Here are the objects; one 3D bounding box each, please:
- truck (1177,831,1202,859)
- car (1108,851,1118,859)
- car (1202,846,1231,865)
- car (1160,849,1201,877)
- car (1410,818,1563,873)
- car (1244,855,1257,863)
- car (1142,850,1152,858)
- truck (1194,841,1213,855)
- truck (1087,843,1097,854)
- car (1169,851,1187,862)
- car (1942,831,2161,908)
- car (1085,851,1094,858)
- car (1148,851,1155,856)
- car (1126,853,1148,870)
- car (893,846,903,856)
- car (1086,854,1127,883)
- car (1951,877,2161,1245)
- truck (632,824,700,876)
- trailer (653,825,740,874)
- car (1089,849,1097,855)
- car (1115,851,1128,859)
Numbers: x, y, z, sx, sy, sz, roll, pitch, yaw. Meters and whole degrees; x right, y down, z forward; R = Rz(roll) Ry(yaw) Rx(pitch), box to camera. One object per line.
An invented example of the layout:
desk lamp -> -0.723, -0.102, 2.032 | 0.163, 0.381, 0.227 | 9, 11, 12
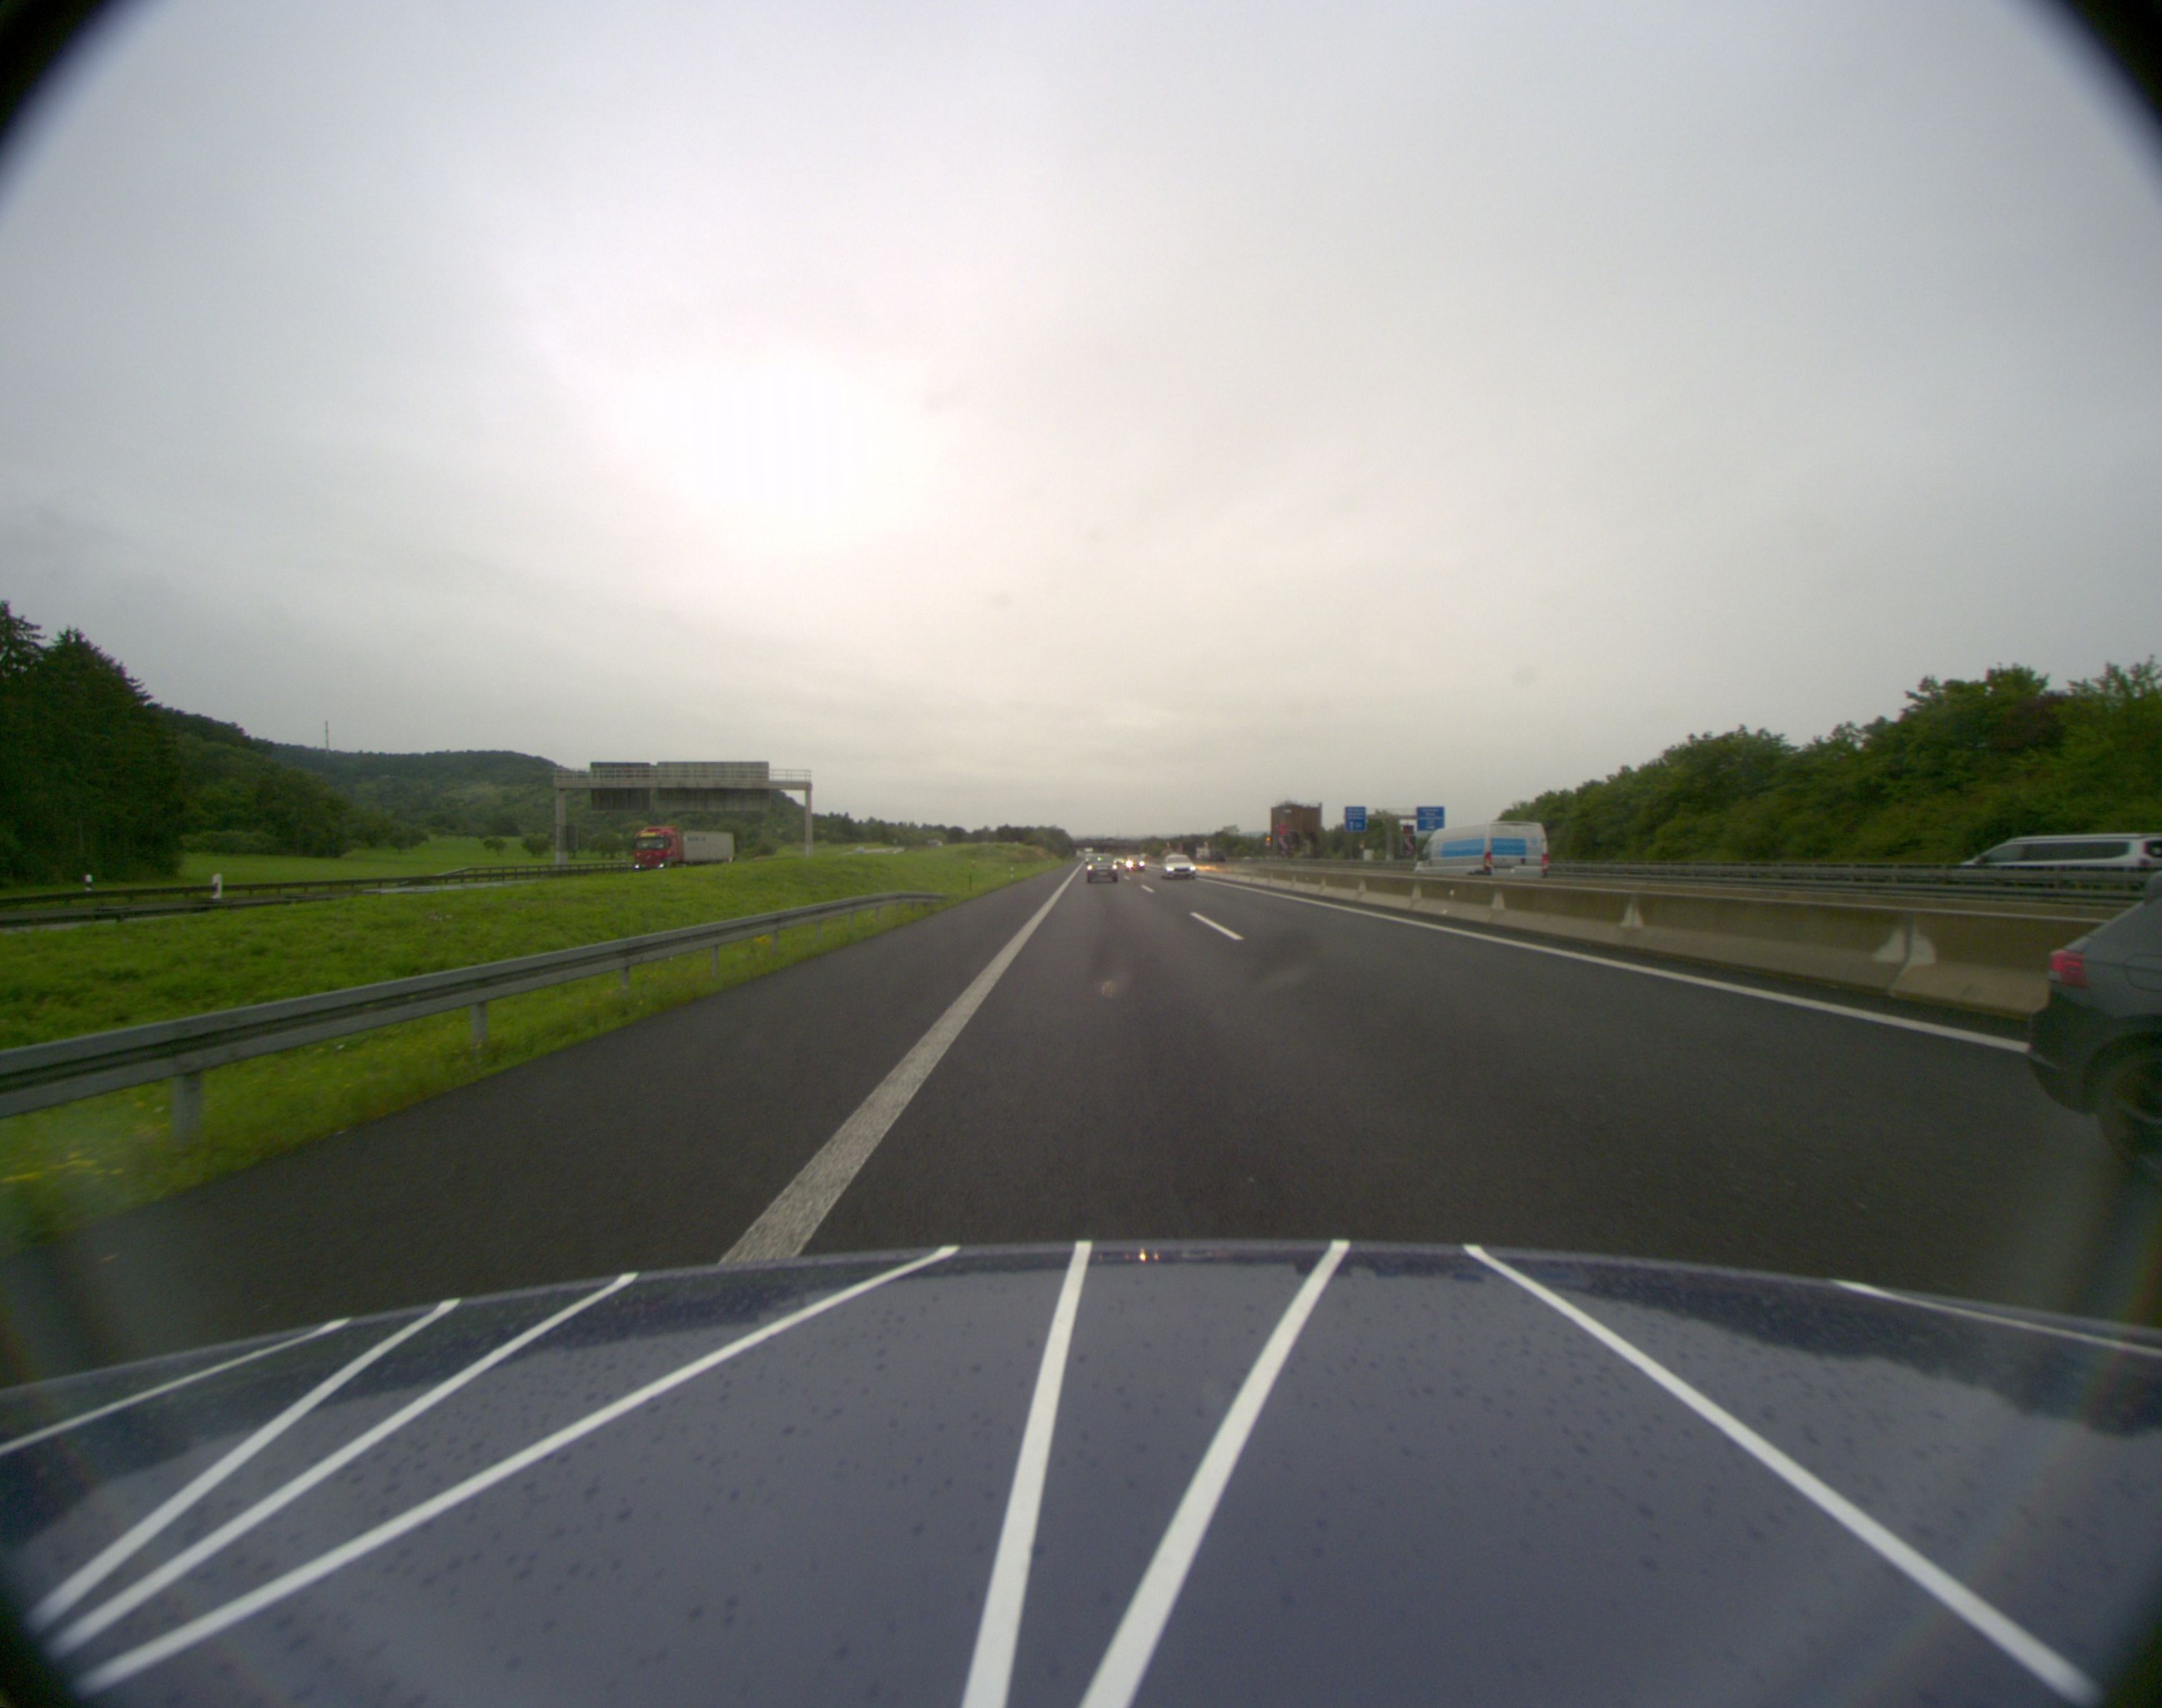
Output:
truck -> 19.572, -1.642, 137.134 | 3.408, 4.705, 10.486 | -2, 0, 3
car -> 7.286, 0.197, 172.796 | 1.998, 1.565, 4.000 | -2, 0, 1
car -> 13.975, 0.177, 78.576 | 1.999, 1.825, 4.679 | -2, 0, -1
car -> 6.137, 0.544, 47.332 | 1.998, 1.582, 4.817 | -2, 0, 2
car -> 14.174, -0.281, 27.116 | 2.363, 1.683, 5.906 | -1, 0, 1
car -> 31.350, 0.955, 140.830 | 1.526, 1.390, 4.000 | -2, 0, 1
car -> 16.168, -0.016, 186.250 | 1.998, 1.852, 5.220 | 0, 0, 0
truck -> 36.731, -1.792, 228.905 | 3.185, 3.786, 17.135 | -1, 0, 2
truck -> 3.564, -1.794, 244.550 | 2.728, 3.098, 7.960 | -3, 0, 1
car -> 15.194, 0.392, 118.779 | 2.161, 1.755, 4.960 | -1, 0, 0
car -> 29.144, 0.370, 22.460 | 1.999, 2.002, 4.714 | -2, 1, 0
car -> 2.043, 0.110, 179.472 | 1.942, 1.341, 4.000 | -3, 0, 1
car -> 19.944, -0.158, 215.318 | 1.728, 1.543, 4.582 | -2, 0, 0
car -> 5.199, 0.673, 70.874 | 1.835, 1.417, 4.368 | -1, 0, 2
car -> -37.933, -0.613, 157.634 | 1.654, 2.002, 3.996 | -1, 0, -9
car -> 1.510, 0.811, 44.534 | 2.242, 1.565, 4.817 | -1, 0, 2
car -> 5.202, 0.833, 1.561 | 1.835, 1.417, 4.367 | -2, 0, 1
truck -> -33.752, -0.355, 62.085 | 2.515, 3.964, 5.925 | -3, 1, -5
trailer -> -34.363, -0.383, 68.618 | 2.498, 3.961, 12.398 | -3, 1, -5
car -> 2.859, -0.398, 185.962 | 1.942, 1.341, 4.000 | -3, 0, 1
car -> 6.881, 0.156, 129.489 | 1.941, 1.341, 4.000 | -4, 0, 1
